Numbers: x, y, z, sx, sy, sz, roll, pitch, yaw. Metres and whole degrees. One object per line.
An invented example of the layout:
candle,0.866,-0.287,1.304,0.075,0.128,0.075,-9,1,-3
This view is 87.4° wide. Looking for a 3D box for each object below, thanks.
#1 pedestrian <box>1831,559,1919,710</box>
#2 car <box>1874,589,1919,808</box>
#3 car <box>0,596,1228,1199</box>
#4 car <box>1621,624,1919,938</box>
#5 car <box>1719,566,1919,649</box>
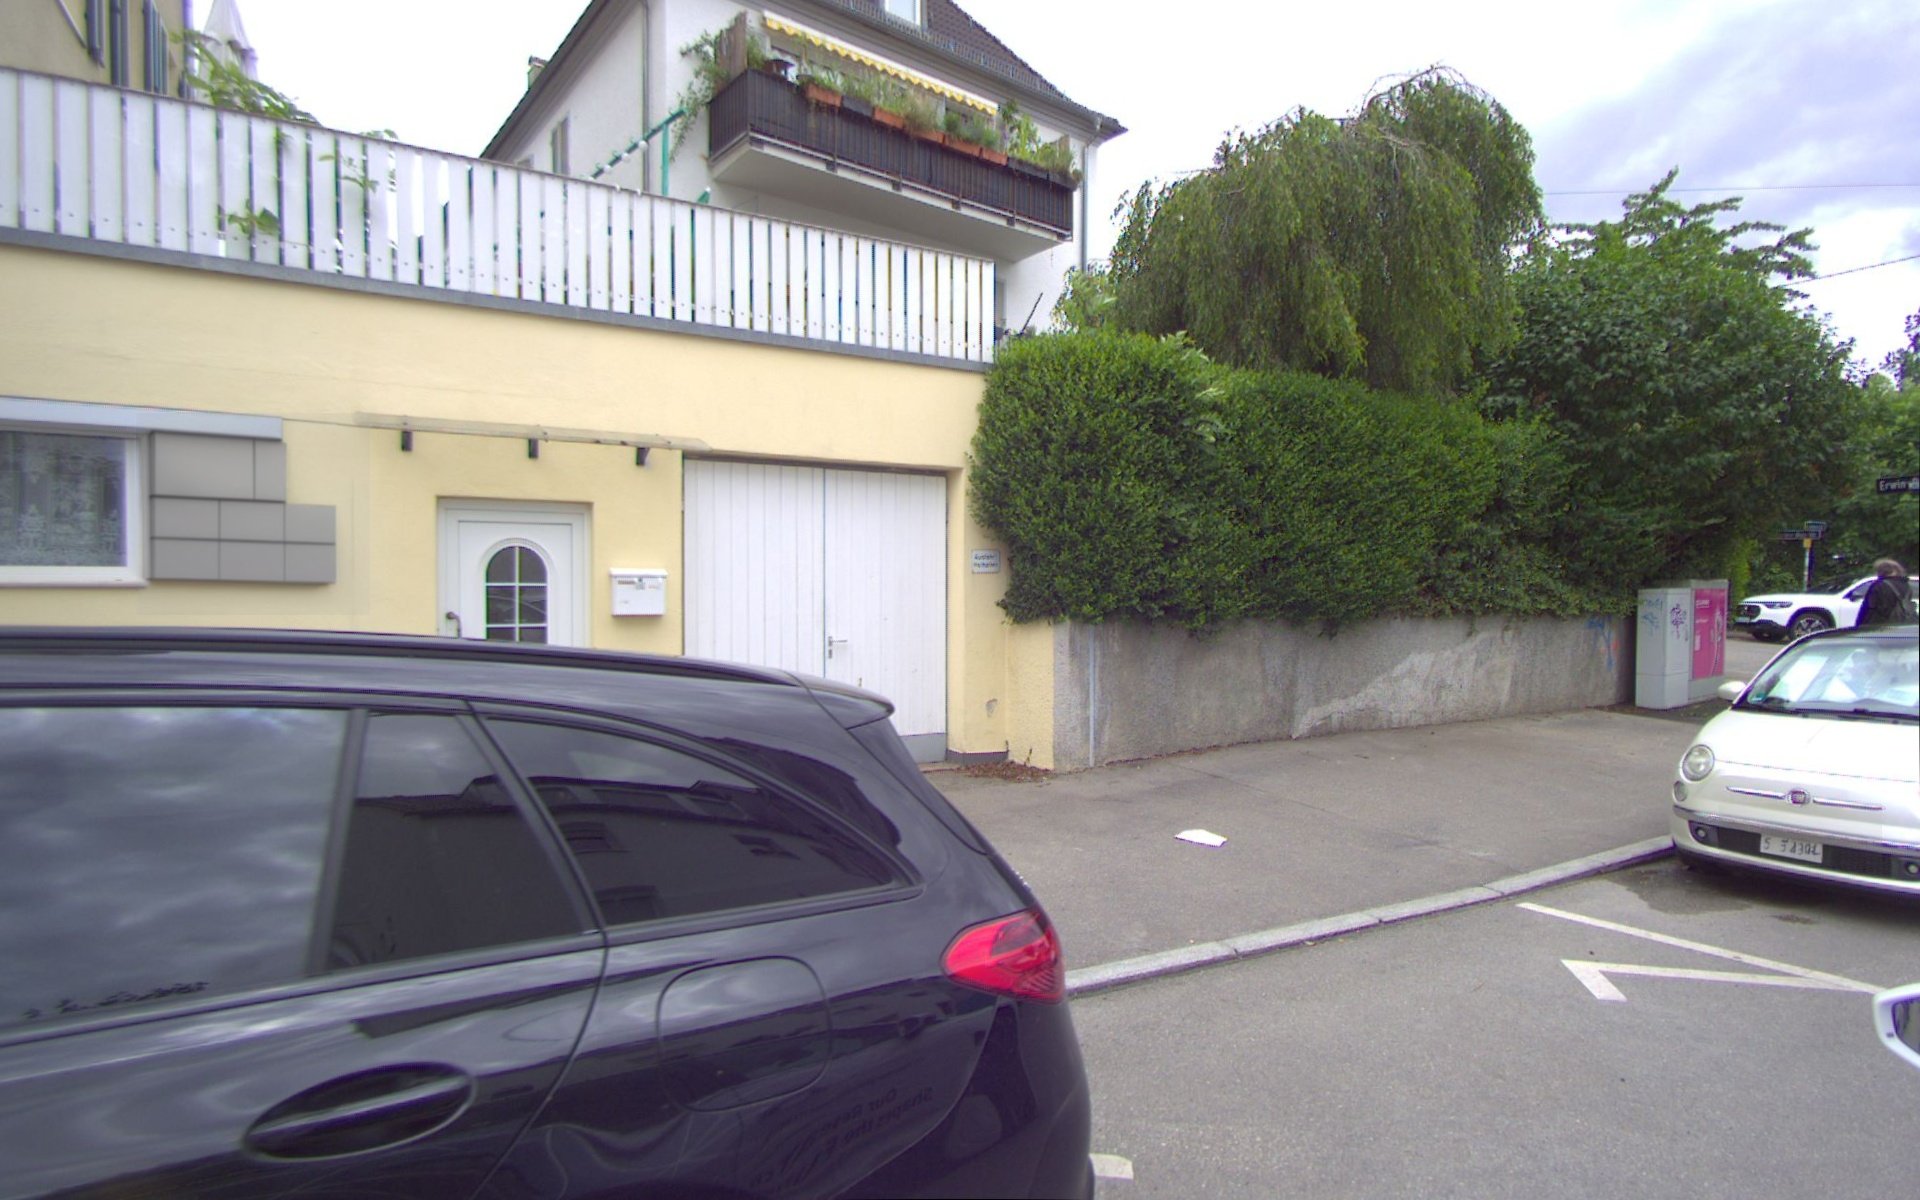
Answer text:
pedestrian,11.413,0.394,12.430,0.639,1.784,0.812,-2,4,-42
car,9.480,0.740,8.259,4.102,1.681,1.795,-1,1,-31
car,-1.813,0.747,1.504,4.278,1.500,1.794,1,0,-30
car,5.820,0.888,6.102,3.571,1.472,1.599,0,-2,-30
car,20.230,0.159,22.722,4.423,1.678,1.835,2,3,13
